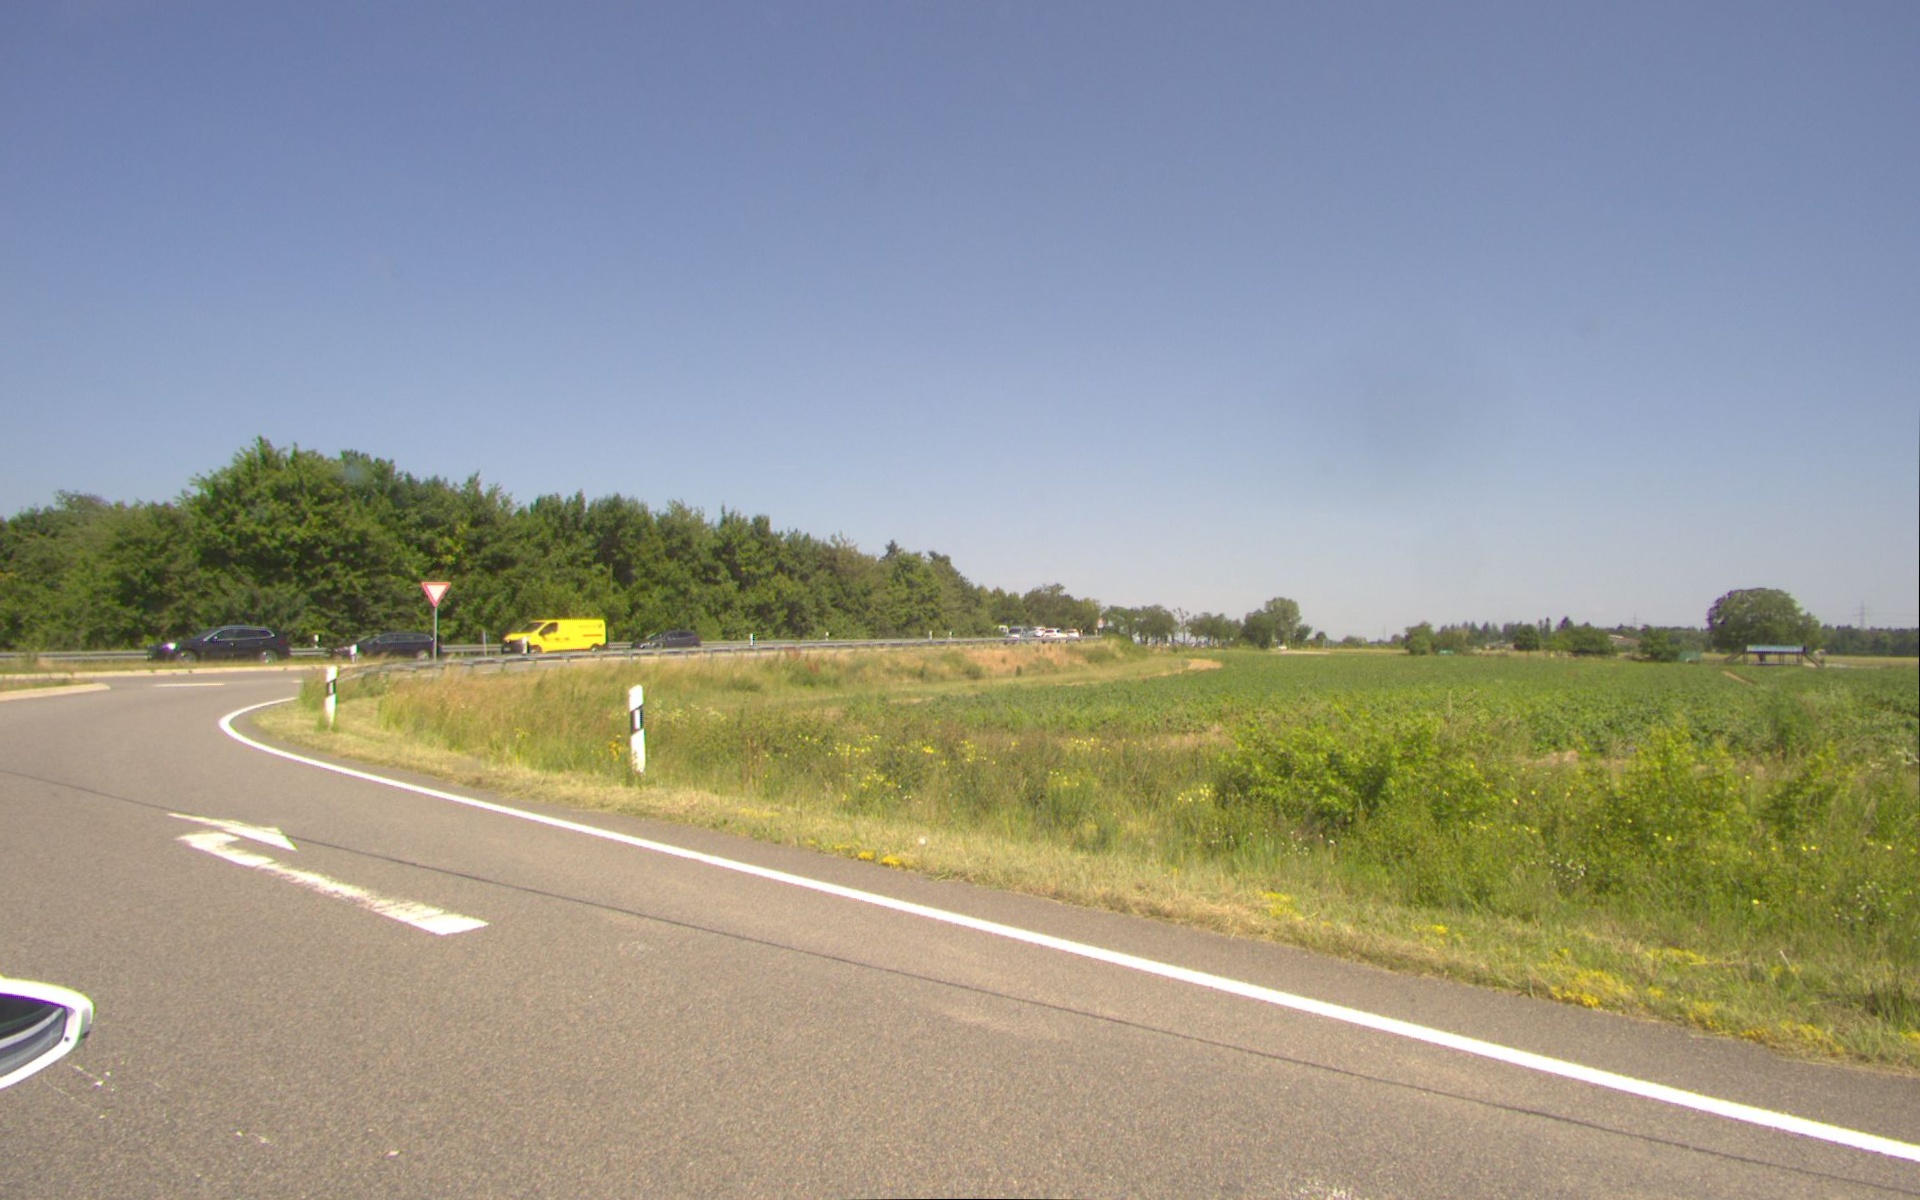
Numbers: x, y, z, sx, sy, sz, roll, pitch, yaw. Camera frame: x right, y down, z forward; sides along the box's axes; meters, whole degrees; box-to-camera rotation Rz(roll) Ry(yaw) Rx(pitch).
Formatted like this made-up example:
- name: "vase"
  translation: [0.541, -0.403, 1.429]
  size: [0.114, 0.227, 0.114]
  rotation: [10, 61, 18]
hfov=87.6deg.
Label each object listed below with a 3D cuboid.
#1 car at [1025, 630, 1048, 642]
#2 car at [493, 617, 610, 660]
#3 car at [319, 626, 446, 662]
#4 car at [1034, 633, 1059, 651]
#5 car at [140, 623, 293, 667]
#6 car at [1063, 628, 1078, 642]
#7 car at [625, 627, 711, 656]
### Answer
- name: "car"
  translation: [10.118, 4.788, 132.927]
  size: [1.707, 1.587, 4.479]
  rotation: [0, -2, -14]
- name: "car"
  translation: [-20.599, 1.941, 50.739]
  size: [1.972, 2.039, 5.312]
  rotation: [-1, -2, 33]
- name: "car"
  translation: [-26.058, 1.975, 45.298]
  size: [1.831, 1.533, 4.664]
  rotation: [-2, -2, 39]
- name: "car"
  translation: [8.473, 4.052, 97.483]
  size: [1.707, 1.587, 4.478]
  rotation: [-1, 0, 14]
- name: "car"
  translation: [-28.648, 1.715, 38.724]
  size: [1.744, 1.618, 4.475]
  rotation: [-1, -2, 34]
- name: "car"
  translation: [12.825, 4.102, 115.936]
  size: [1.706, 1.587, 3.694]
  rotation: [-1, -2, 8]
- name: "car"
  translation: [-16.616, 2.345, 57.164]
  size: [1.828, 1.533, 4.671]
  rotation: [-1, -2, 34]
